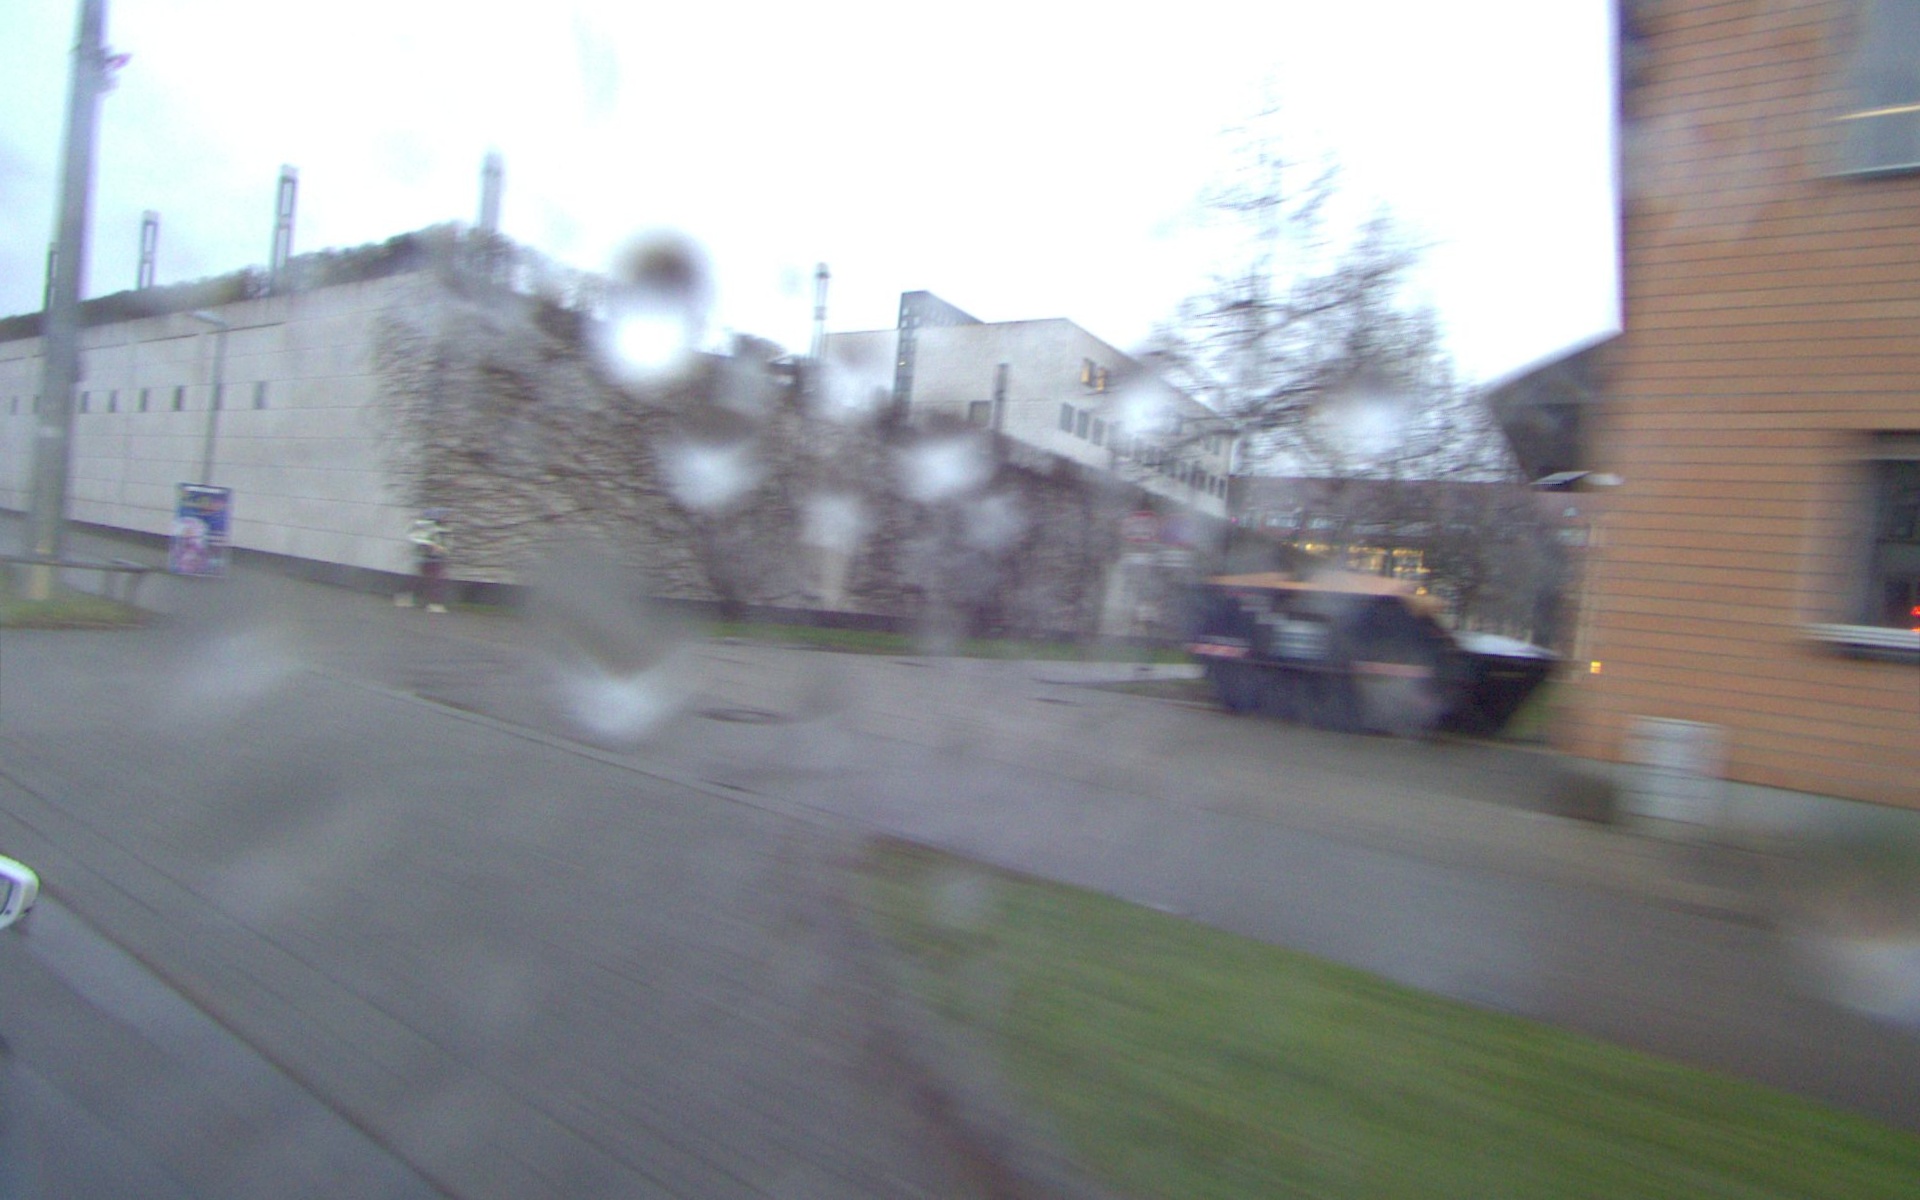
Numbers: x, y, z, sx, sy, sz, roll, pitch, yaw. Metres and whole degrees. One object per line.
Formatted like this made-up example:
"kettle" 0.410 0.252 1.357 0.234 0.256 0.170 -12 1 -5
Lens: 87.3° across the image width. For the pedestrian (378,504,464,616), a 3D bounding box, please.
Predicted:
"pedestrian" -8.534 -0.633 15.934 1.049 1.631 0.621 7 1 31
